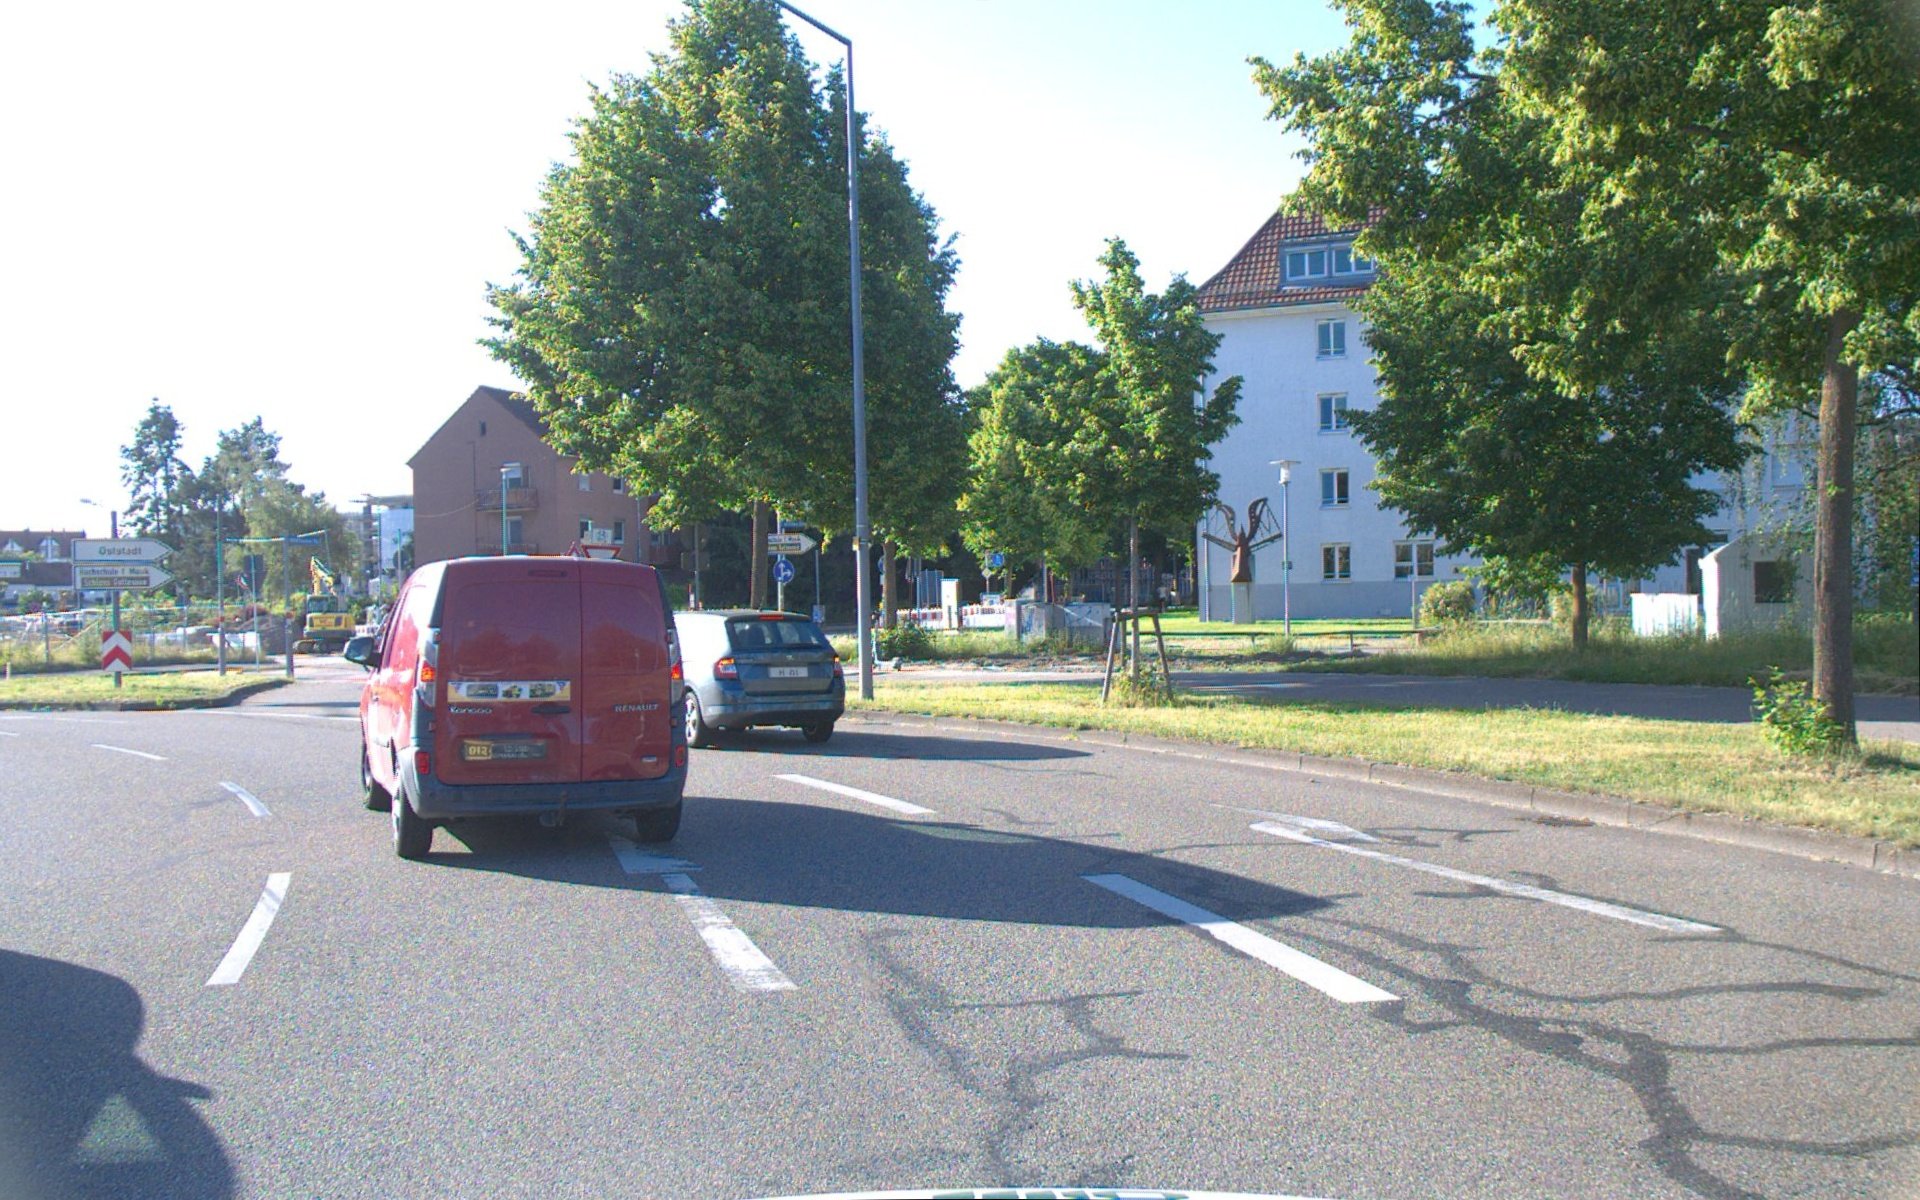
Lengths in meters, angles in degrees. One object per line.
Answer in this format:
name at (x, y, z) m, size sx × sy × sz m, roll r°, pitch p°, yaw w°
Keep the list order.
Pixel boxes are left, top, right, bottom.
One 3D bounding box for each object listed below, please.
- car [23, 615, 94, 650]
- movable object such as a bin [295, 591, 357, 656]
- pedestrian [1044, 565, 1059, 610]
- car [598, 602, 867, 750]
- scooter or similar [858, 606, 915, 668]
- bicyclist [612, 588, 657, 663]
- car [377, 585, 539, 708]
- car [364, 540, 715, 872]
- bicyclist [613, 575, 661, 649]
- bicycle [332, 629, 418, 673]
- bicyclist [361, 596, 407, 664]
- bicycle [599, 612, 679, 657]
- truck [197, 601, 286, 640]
car at (-53.566, 1.911, 98.240) m, size 4.409 × 2.049 × 1.992 m, roll -1°, pitch -1°, yaw 36°
movable object such as a bin at (-28.553, 1.055, 74.425) m, size 2.388 × 2.822 × 3.969 m, roll 0°, pitch -1°, yaw -24°
pedestrian at (4.217, -0.572, 76.179) m, size 0.461 × 2.049 × 0.454 m, roll -1°, pitch 0°, yaw 29°
car at (-2.707, 0.796, 18.866) m, size 1.695 × 1.461 × 4.112 m, roll -1°, pitch 0°, yaw -29°
scooter or similar at (-1.563, 0.788, 34.954) m, size 1.242 × 1.270 × 0.442 m, roll -3°, pitch -3°, yaw 43°
bicyclist at (-7.772, 0.596, 39.498) m, size 0.793 × 1.760 × 0.654 m, roll -2°, pitch -1°, yaw 22°
car at (-8.910, 0.772, 29.070) m, size 1.973 × 1.930 × 4.712 m, roll -1°, pitch 0°, yaw -26°
car at (-3.018, 0.577, 11.297) m, size 1.778 × 1.845 × 3.782 m, roll 0°, pitch 0°, yaw -23°
bicyclist at (-7.487, 0.282, 38.370) m, size 0.879 × 1.694 × 0.659 m, roll -1°, pitch -1°, yaw 26°
bicycle at (-15.155, 1.320, 42.876) m, size 1.961 × 1.045 × 0.743 m, roll -1°, pitch 2°, yaw 9°
bicyclist at (-14.905, 0.778, 42.803) m, size 0.833 × 1.709 × 0.743 m, roll -1°, pitch 2°, yaw 9°
bicycle at (-7.442, 0.800, 38.341) m, size 1.782 × 1.046 × 0.659 m, roll -1°, pitch -1°, yaw 26°
truck at (-39.444, 1.131, 90.724) m, size 6.323 × 2.049 × 2.157 m, roll -1°, pitch -1°, yaw 43°
